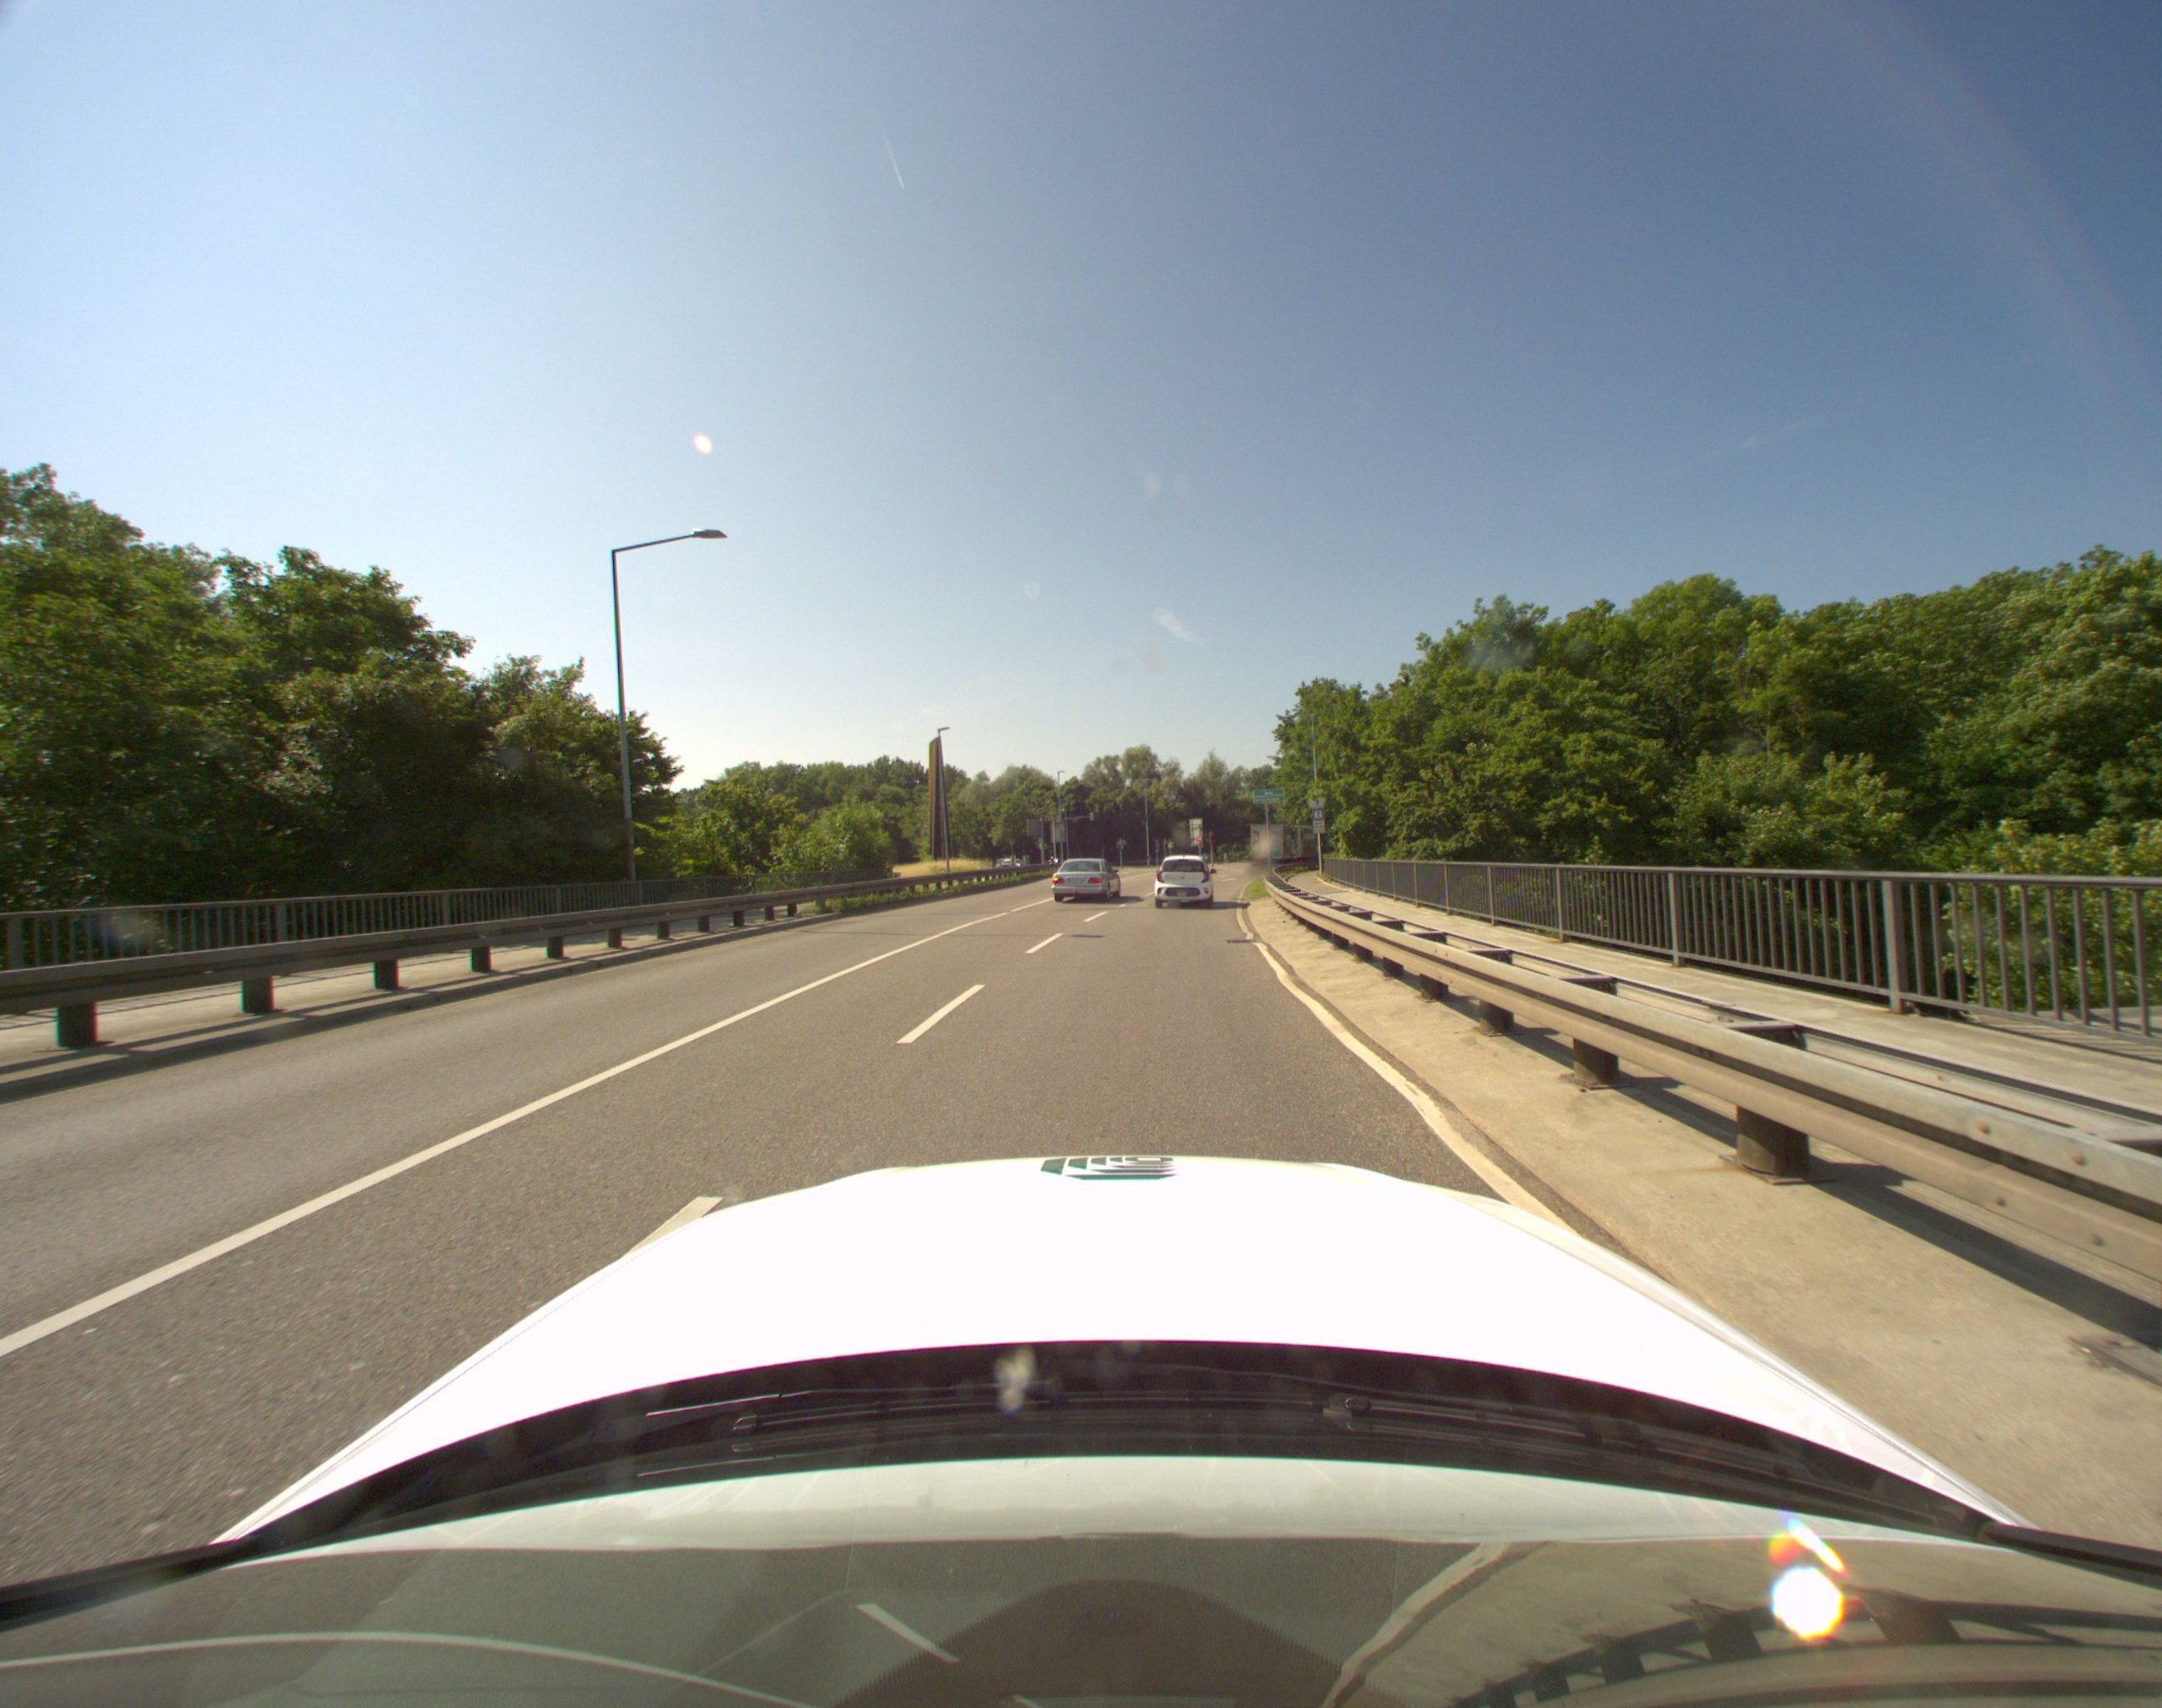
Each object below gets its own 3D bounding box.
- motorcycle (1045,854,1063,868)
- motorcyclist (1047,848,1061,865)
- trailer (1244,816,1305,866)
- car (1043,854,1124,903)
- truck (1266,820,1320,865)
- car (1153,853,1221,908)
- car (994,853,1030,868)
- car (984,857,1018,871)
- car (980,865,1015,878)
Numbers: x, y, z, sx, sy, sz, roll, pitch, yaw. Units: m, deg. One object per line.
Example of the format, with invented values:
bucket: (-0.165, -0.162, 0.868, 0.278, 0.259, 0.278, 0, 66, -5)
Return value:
motorcycle: (-3.174, 0.826, 94.678, 1.957, 1.529, 0.905, -5, -4, 39)
motorcyclist: (-3.151, 0.295, 94.651, 1.445, 1.870, 0.898, -2, -2, 39)
trailer: (15.666, -0.986, 65.455, 3.195, 3.758, 7.869, 1, 0, 24)
car: (0.207, 0.755, 27.603, 1.927, 1.486, 4.914, -1, 0, 10)
truck: (19.025, -0.991, 72.813, 3.231, 3.758, 8.418, 1, 0, 24)
car: (3.240, 0.732, 24.374, 1.690, 1.494, 4.013, 0, 0, 12)
car: (-7.810, 0.776, 91.983, 3.948, 1.389, 1.712, -6, -5, 42)
car: (-9.614, 1.254, 97.909, 3.948, 1.389, 1.778, -6, -5, 42)
car: (-10.131, 2.147, 98.998, 3.948, 1.389, 2.136, -6, -5, 42)
